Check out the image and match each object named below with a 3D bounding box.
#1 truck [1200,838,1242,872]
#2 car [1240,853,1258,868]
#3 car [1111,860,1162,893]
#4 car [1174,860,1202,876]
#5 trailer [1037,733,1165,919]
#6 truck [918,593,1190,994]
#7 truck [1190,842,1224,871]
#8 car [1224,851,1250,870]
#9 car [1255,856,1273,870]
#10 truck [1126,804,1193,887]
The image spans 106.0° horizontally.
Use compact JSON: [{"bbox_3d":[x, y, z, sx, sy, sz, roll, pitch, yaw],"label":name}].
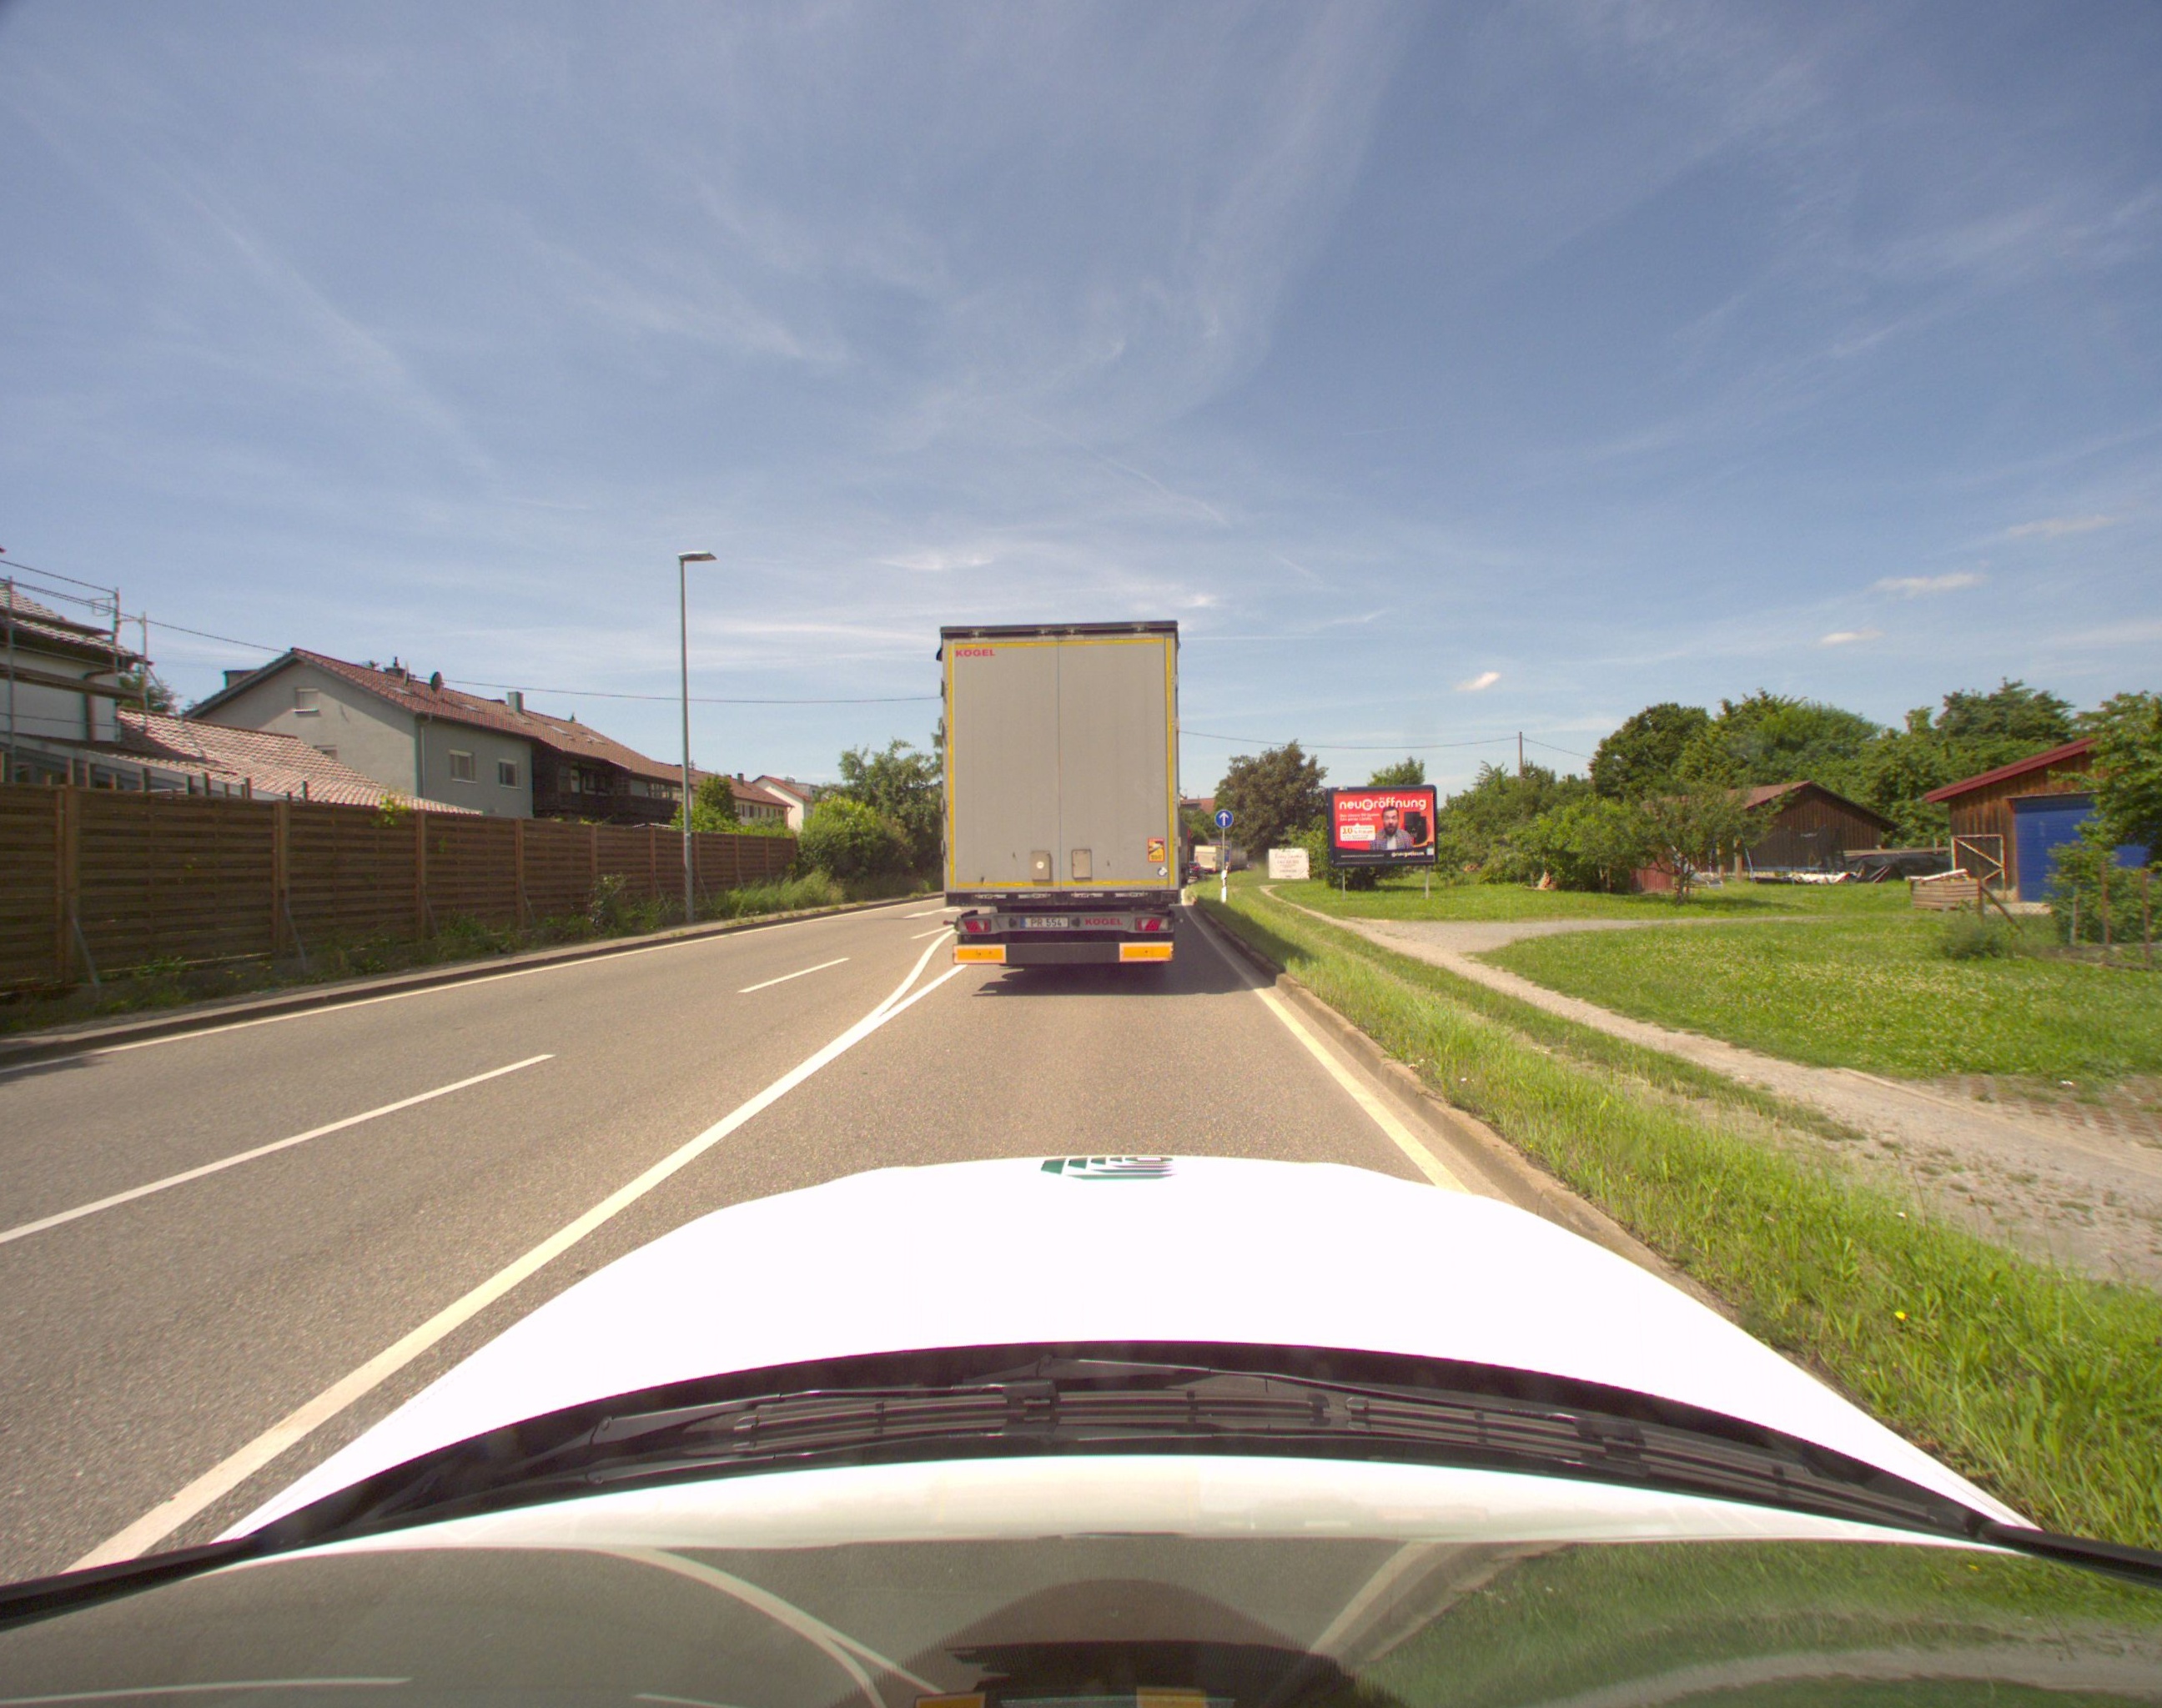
[{"bbox_3d":[16.011,0.102,92.478,3.406,3.604,9.396,-1,0,17],"label":"truck"},{"bbox_3d":[23.104,0.916,111.628,1.978,2.014,4.018,-1,-1,17],"label":"car"},{"bbox_3d":[2.439,0.953,34.975,1.808,1.346,3.857,0,-1,9],"label":"car"},{"bbox_3d":[9.403,1.229,71.555,1.979,1.376,4.015,0,-1,14],"label":"car"},{"bbox_3d":[0.683,-0.625,21.517,2.813,4.111,6.551,-1,0,4],"label":"trailer"},{"bbox_3d":[0.139,-0.635,14.168,2.809,4.127,11.457,0,0,4],"label":"truck"},{"bbox_3d":[12.621,0.316,81.279,2.524,2.803,6.057,0,-1,16],"label":"truck"},{"bbox_3d":[19.663,0.773,102.538,2.512,2.277,6.410,0,0,18],"label":"car"},{"bbox_3d":[26.907,1.312,119.645,1.976,2.014,4.021,-1,-1,22],"label":"car"},{"bbox_3d":[5.146,-0.324,50.334,2.743,4.289,16.460,0,-1,10],"label":"truck"}]
